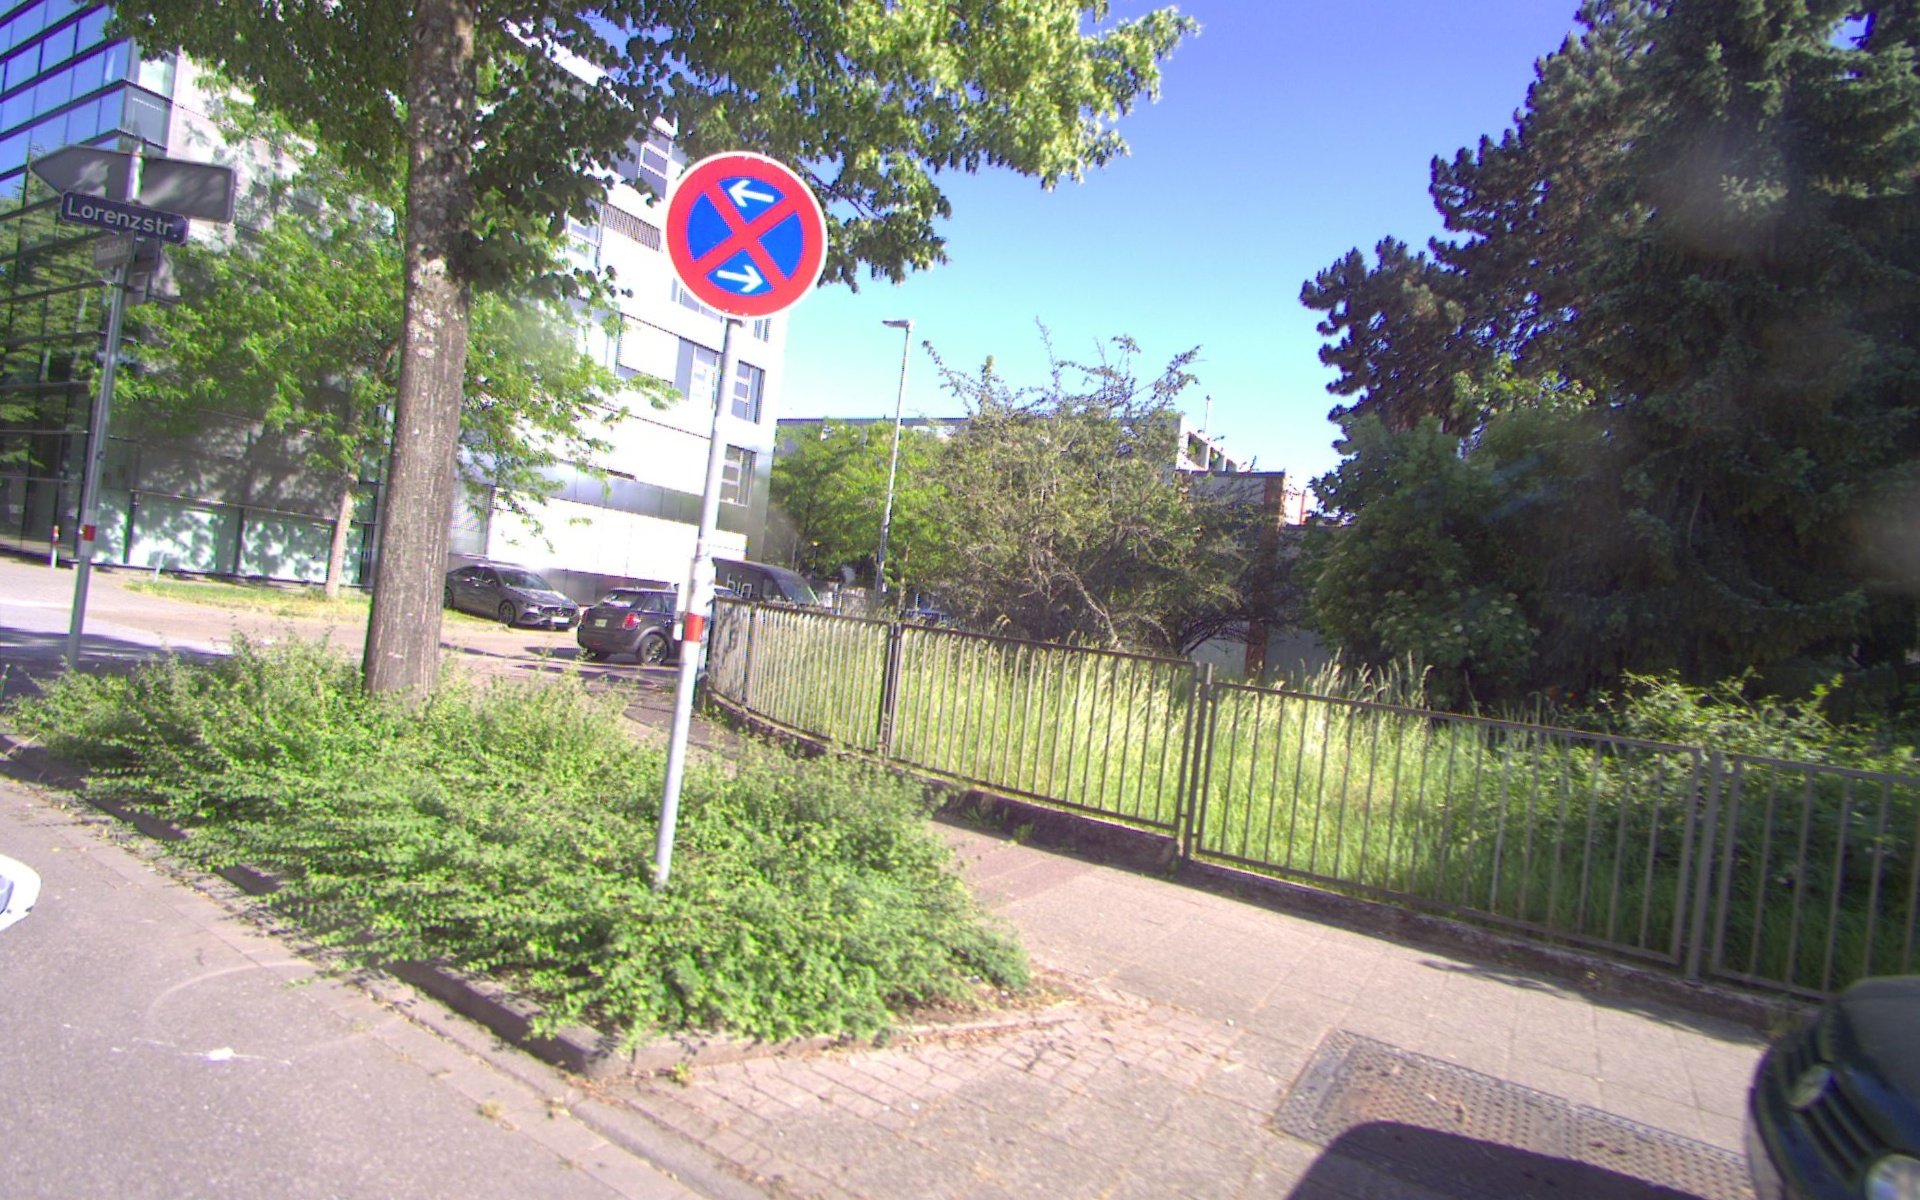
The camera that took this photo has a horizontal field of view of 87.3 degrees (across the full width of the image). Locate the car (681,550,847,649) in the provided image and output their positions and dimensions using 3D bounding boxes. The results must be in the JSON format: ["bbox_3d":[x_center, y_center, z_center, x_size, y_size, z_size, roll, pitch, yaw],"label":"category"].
[{"bbox_3d":[-6.899,-0.040,35.120,5.382,2.655,2.226,8,1,32],"label":"car"}]

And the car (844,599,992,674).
[{"bbox_3d":[-1.014,1.022,26.972,1.801,1.648,4.286,5,-2,31],"label":"car"}]

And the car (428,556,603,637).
[{"bbox_3d":[-11.642,-0.109,26.276,4.473,1.367,1.889,9,1,32],"label":"car"}]

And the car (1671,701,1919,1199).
[{"bbox_3d":[3.608,1.128,1.144,4.352,1.439,1.749,6,-2,32],"label":"car"}]

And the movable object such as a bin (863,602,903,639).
[{"bbox_3d":[-3.328,0.891,43.686,1.273,1.431,1.228,7,0,14],"label":"movable object such as a bin"}]

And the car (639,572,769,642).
[{"bbox_3d":[-8.408,0.232,33.005,3.780,1.665,1.888,9,1,32],"label":"car"}]

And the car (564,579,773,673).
[{"bbox_3d":[-5.602,0.568,19.770,1.630,1.489,3.758,5,-2,30],"label":"car"}]
